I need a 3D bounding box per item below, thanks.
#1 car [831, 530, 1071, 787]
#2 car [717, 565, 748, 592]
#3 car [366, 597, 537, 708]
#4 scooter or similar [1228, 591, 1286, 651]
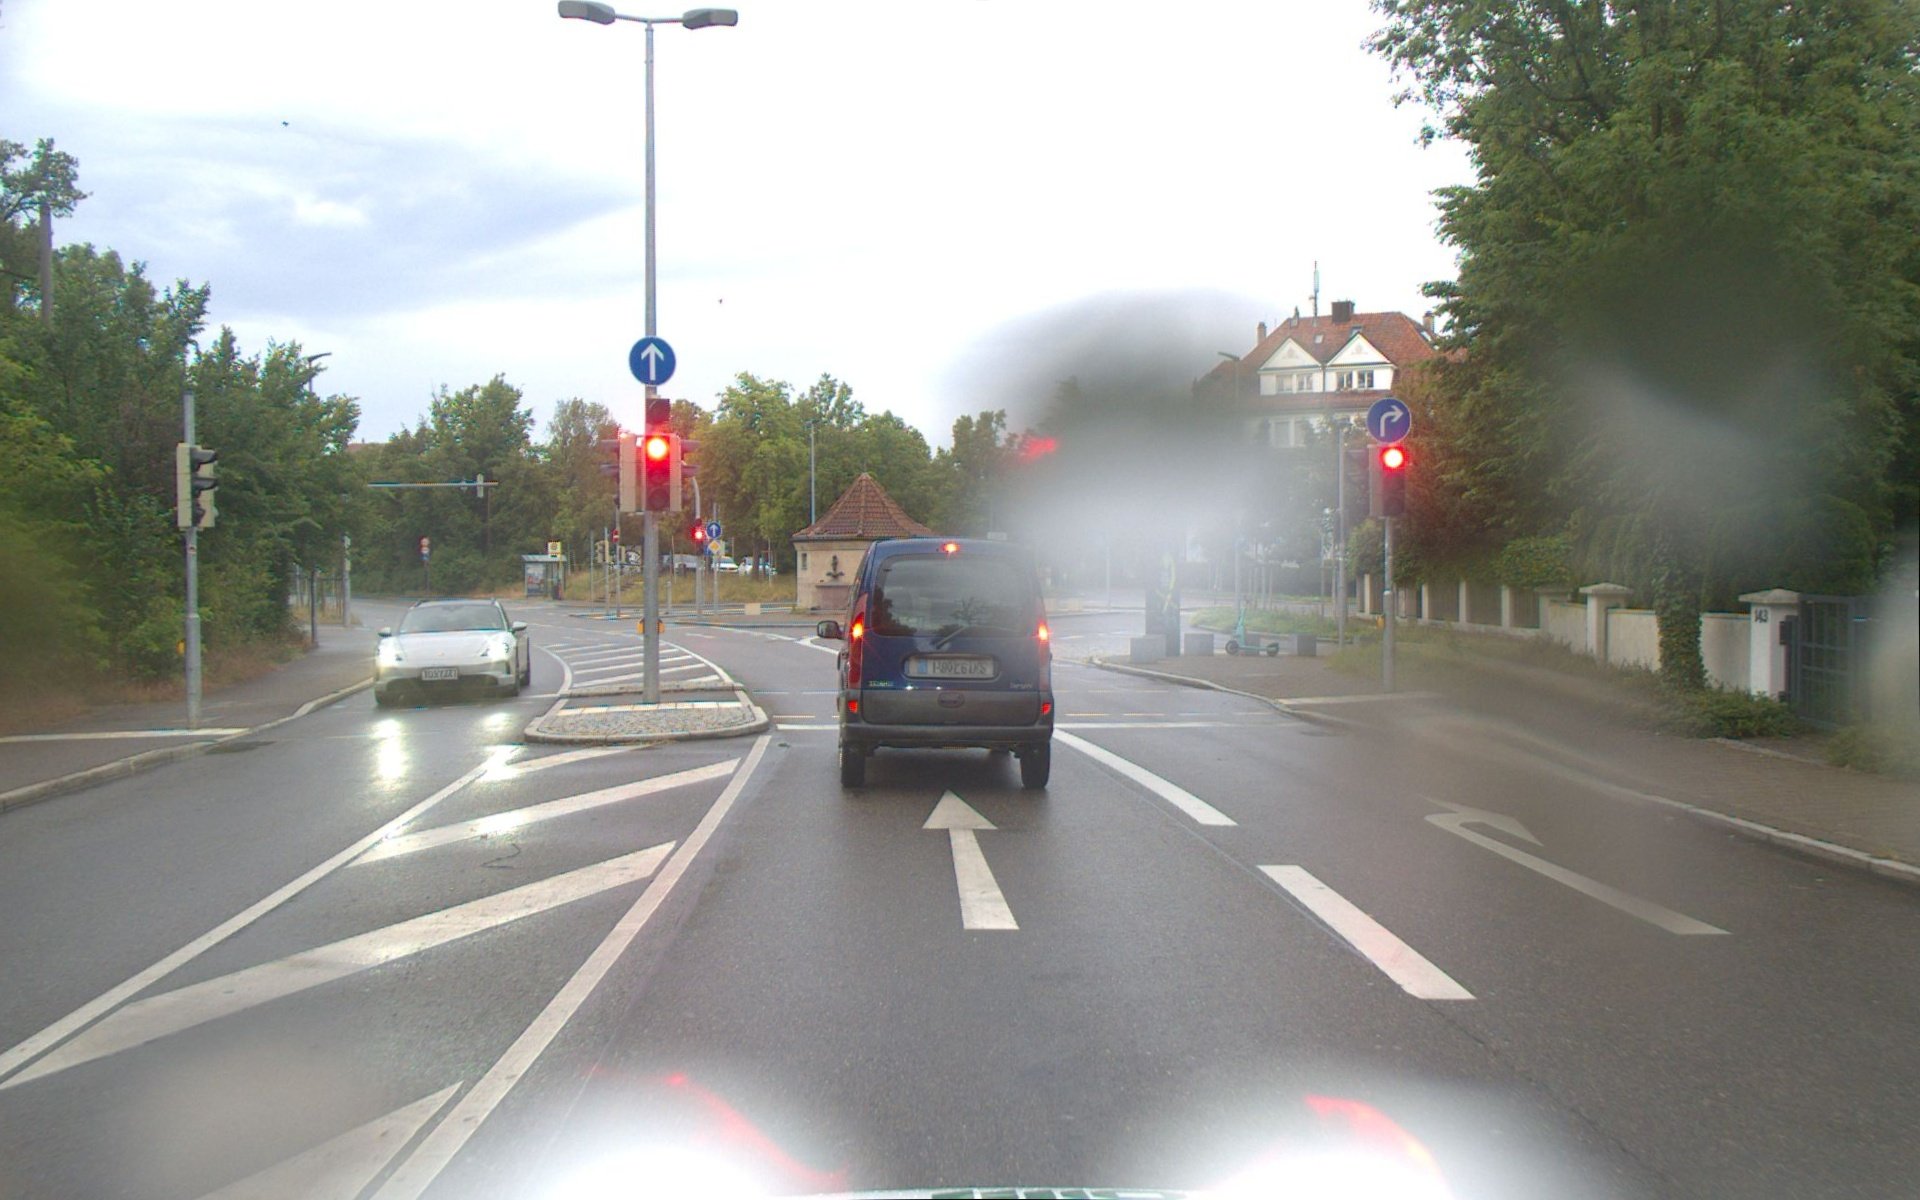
[{"bbox_3d":[-0.184,0.392,13.746,1.697,1.817,3.997,0,1,-4],"label":"car"},{"bbox_3d":[-15.968,-1.502,115.999,1.955,1.844,3.995,0,0,-5],"label":"car"},{"bbox_3d":[-7.416,0.699,24.531,1.959,1.334,4.347,-3,1,-12],"label":"car"},{"bbox_3d":[6.178,0.441,34.458,1.126,1.240,0.405,0,-1,-3],"label":"scooter or similar"}]
